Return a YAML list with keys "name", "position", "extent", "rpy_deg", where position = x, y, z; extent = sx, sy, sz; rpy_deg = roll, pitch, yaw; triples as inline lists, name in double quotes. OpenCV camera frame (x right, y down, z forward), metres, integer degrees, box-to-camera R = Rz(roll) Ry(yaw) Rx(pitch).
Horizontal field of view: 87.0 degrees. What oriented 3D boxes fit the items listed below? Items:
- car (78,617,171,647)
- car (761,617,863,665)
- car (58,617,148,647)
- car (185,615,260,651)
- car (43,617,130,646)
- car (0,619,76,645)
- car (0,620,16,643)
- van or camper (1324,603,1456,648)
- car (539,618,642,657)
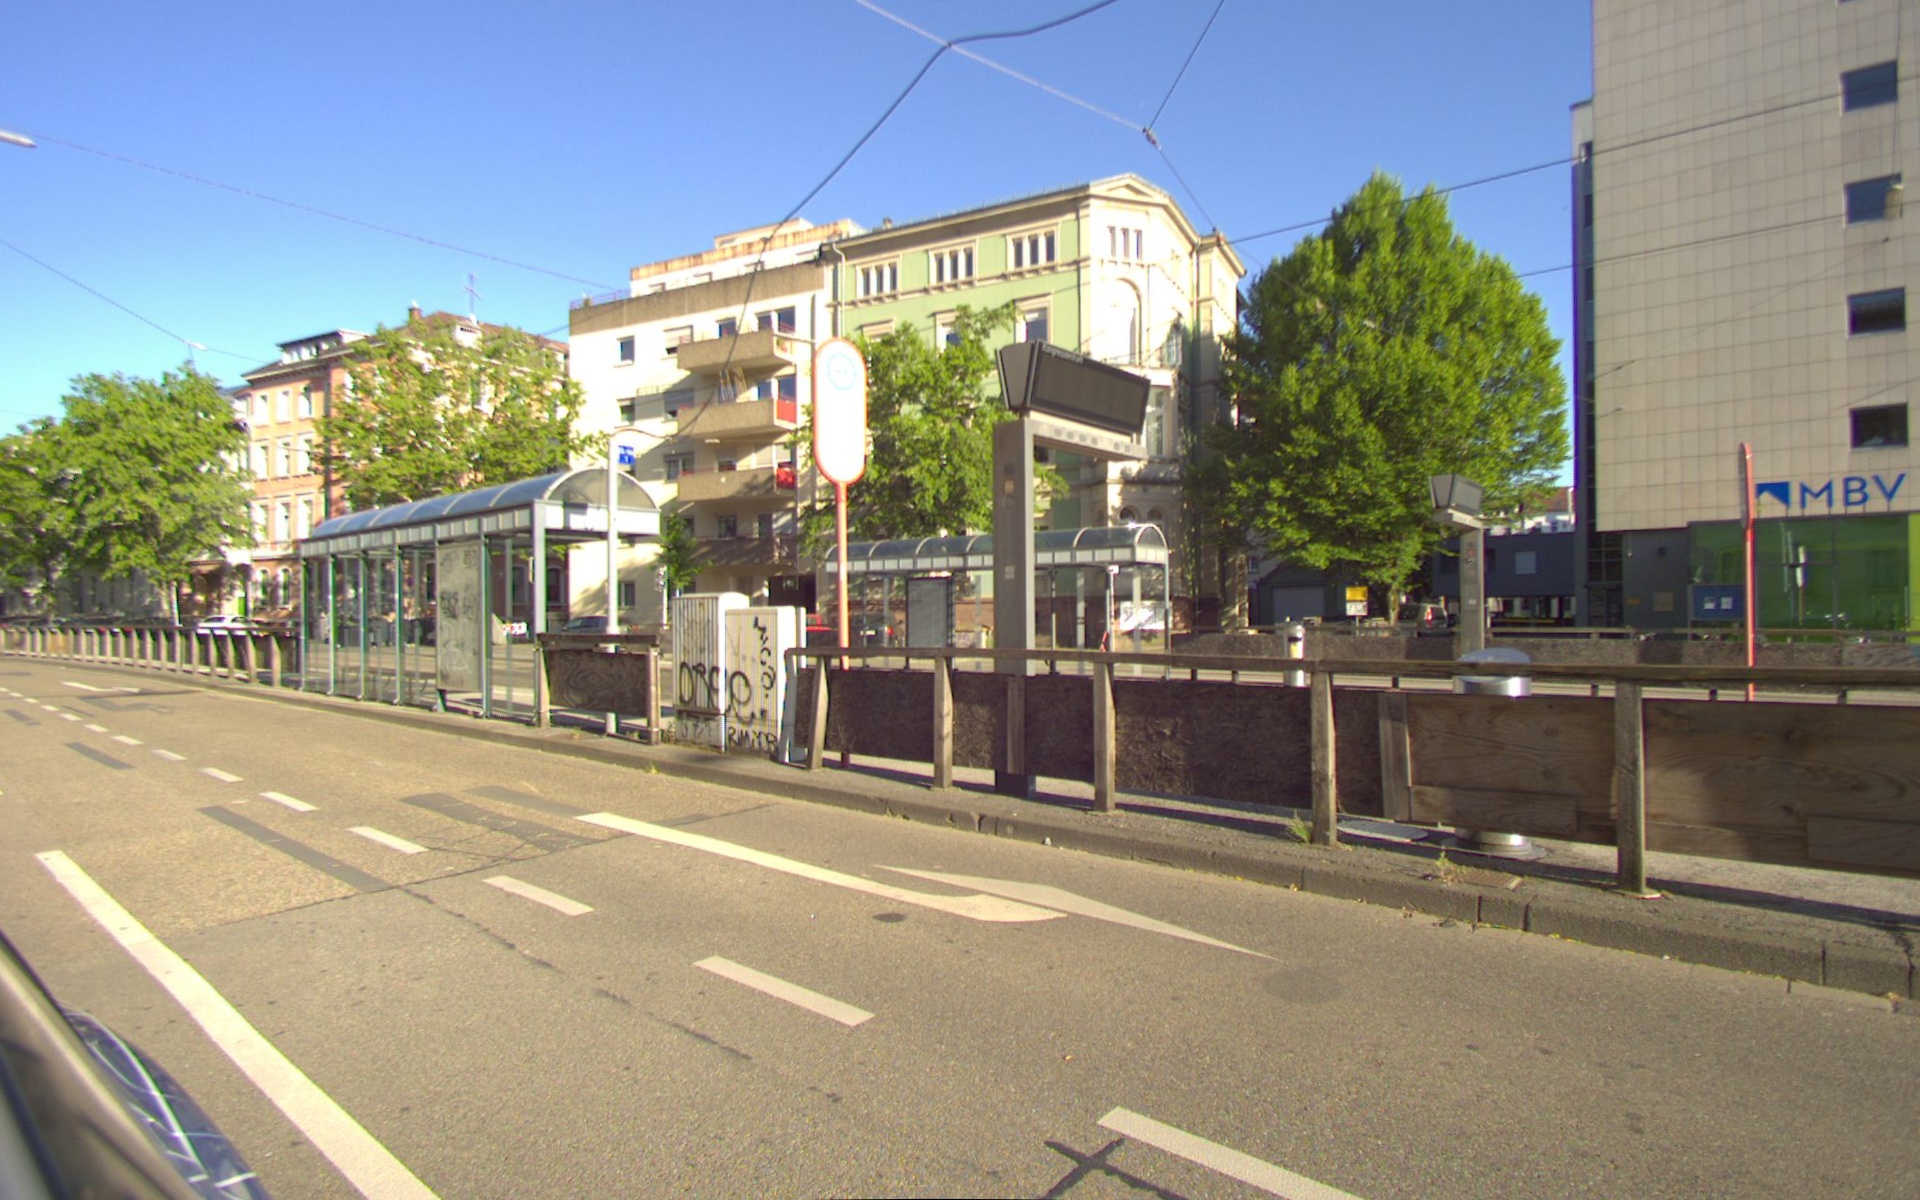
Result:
- name: "car"
  position: [-47.983, 1.821, 58.163]
  extent: [2.001, 1.697, 3.942]
  rpy_deg: [-2, -2, 44]
- name: "car"
  position: [-5.008, 1.363, 34.696]
  extent: [1.763, 1.547, 3.763]
  rpy_deg: [-1, -2, 23]
- name: "car"
  position: [-51.300, 1.884, 60.636]
  extent: [2.001, 1.697, 3.942]
  rpy_deg: [-2, -2, 44]
- name: "car"
  position: [-39.528, 1.749, 54.381]
  extent: [1.966, 1.736, 4.012]
  rpy_deg: [0, 1, -15]
- name: "car"
  position: [-54.308, 1.930, 62.965]
  extent: [2.001, 1.697, 3.942]
  rpy_deg: [-2, -2, 44]
- name: "car"
  position: [-59.617, 2.055, 65.276]
  extent: [3.811, 1.604, 2.001]
  rpy_deg: [1, -2, -45]
- name: "car"
  position: [-68.106, 2.187, 70.121]
  extent: [2.001, 1.604, 3.812]
  rpy_deg: [-2, -2, 44]
- name: "van or camper"
  position: [15.498, 0.884, 36.552]
  extent: [3.998, 1.417, 1.943]
  rpy_deg: [2, 0, 41]
- name: "car"
  position: [-14.010, 1.411, 38.400]
  extent: [3.498, 1.406, 1.602]
  rpy_deg: [-1, -2, 22]
